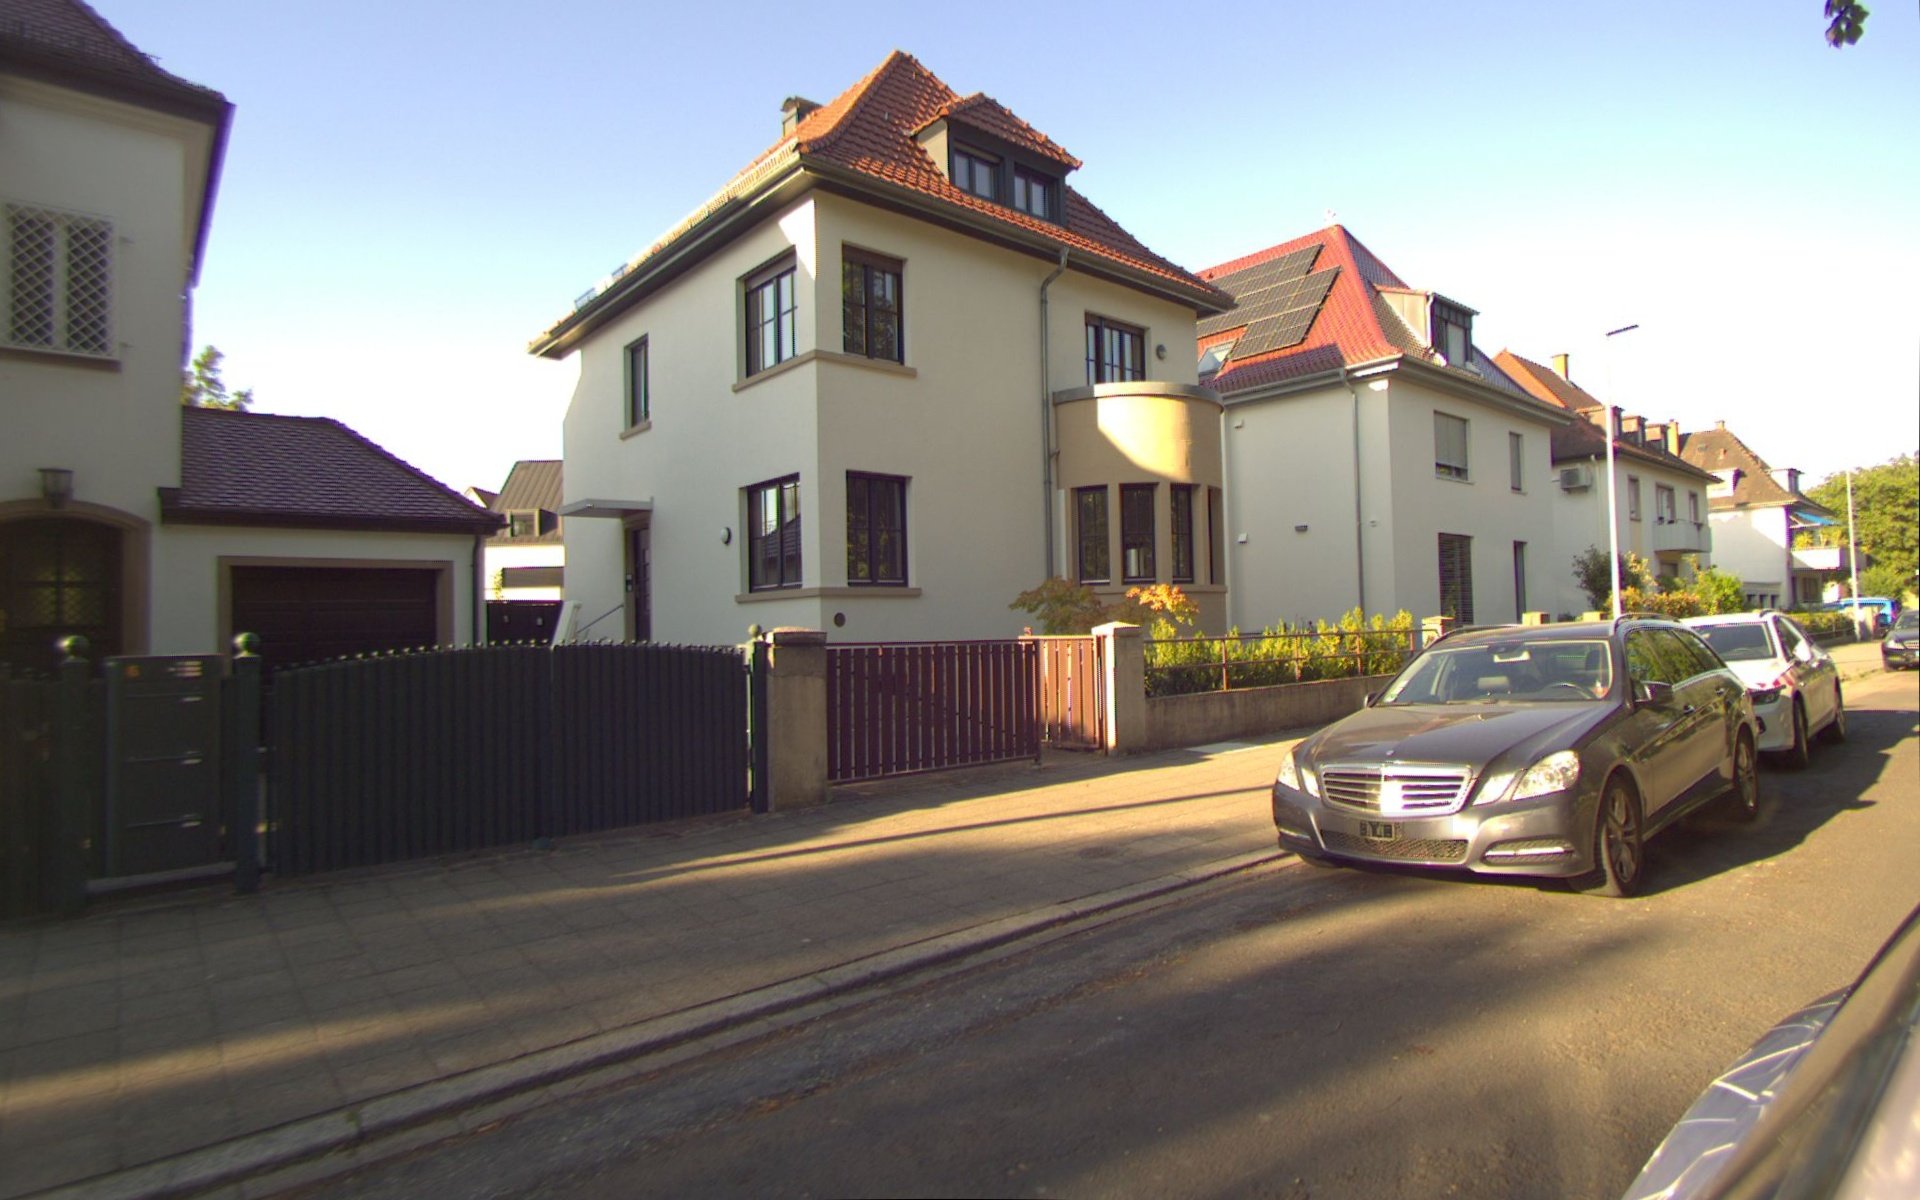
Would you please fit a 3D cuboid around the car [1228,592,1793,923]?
[{"bbox_3d":[3.927,0.792,6.831,4.514,1.482,1.781,-1,-5,-41],"label":"car"}]

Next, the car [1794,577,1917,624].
[{"bbox_3d":[41.112,0.050,46.511,1.967,1.953,3.989,0,-3,-43],"label":"car"}]

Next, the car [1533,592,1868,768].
[{"bbox_3d":[8.112,0.777,10.915,4.474,1.483,1.994,-1,-6,-43],"label":"car"}]

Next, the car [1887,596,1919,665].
[{"bbox_3d":[23.318,0.604,23.768,4.323,1.519,1.781,-1,-5,-42],"label":"car"}]
